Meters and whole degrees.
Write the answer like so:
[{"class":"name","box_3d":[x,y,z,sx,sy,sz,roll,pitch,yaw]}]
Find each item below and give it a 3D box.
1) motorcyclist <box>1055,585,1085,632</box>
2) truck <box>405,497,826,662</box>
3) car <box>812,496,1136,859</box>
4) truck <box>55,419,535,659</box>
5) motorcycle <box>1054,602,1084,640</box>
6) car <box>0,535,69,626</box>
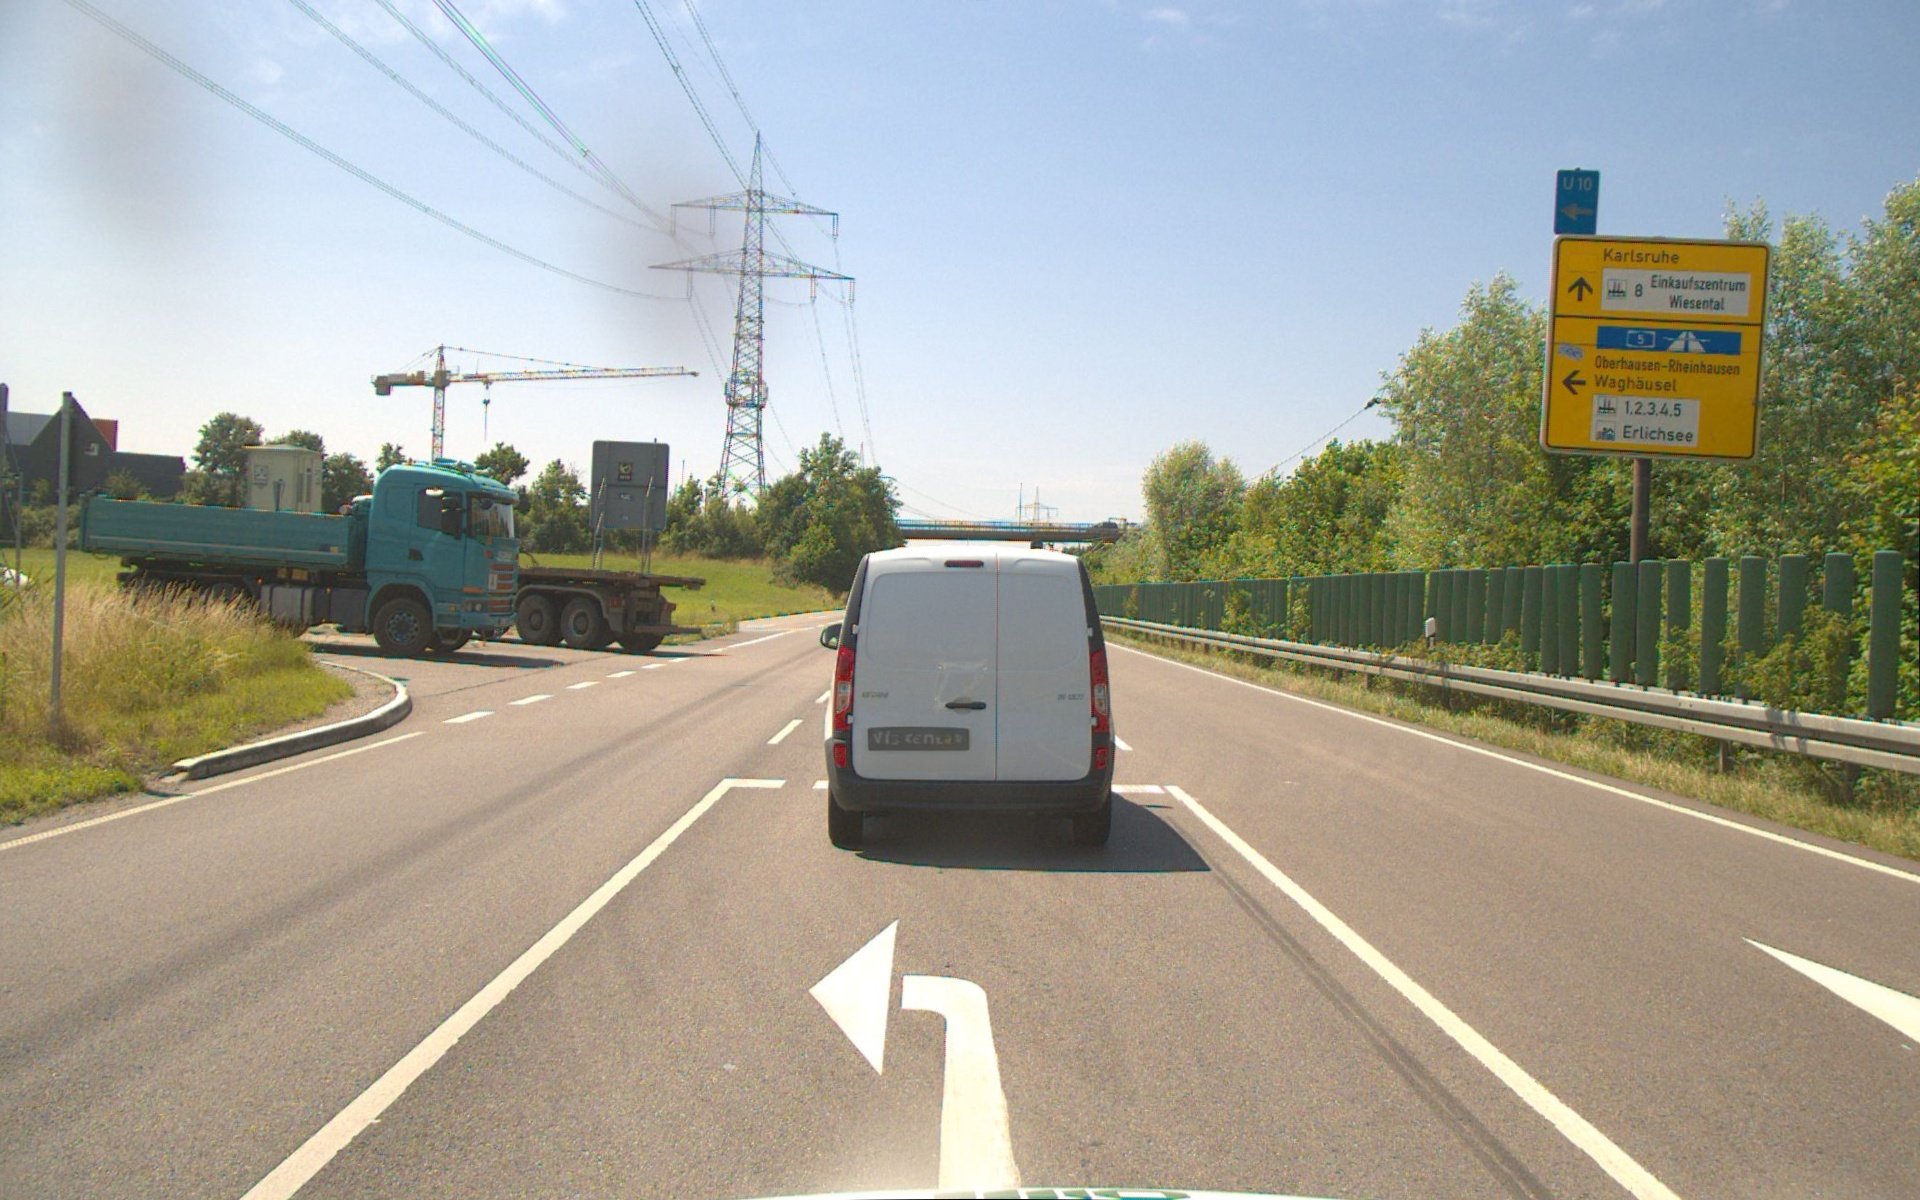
[{"class":"motorcyclist","box_3d":[3.560,0.284,53.717,0.871,1.502,1.002,1,0,-1]},{"class":"truck","box_3d":[-7.863,-0.557,37.253,9.479,3.345,2.827,2,1,26]},{"class":"car","box_3d":[0.052,0.425,11.263,1.790,2.005,3.999,1,0,-1]},{"class":"truck","box_3d":[-12.228,-1.101,30.819,7.741,3.799,2.499,4,0,2]},{"class":"motorcycle","box_3d":[3.554,0.671,53.937,0.774,1.178,1.901,2,0,-2]},{"class":"car","box_3d":[-19.404,-0.460,31.102,4.445,1.640,1.969,3,0,14]}]
